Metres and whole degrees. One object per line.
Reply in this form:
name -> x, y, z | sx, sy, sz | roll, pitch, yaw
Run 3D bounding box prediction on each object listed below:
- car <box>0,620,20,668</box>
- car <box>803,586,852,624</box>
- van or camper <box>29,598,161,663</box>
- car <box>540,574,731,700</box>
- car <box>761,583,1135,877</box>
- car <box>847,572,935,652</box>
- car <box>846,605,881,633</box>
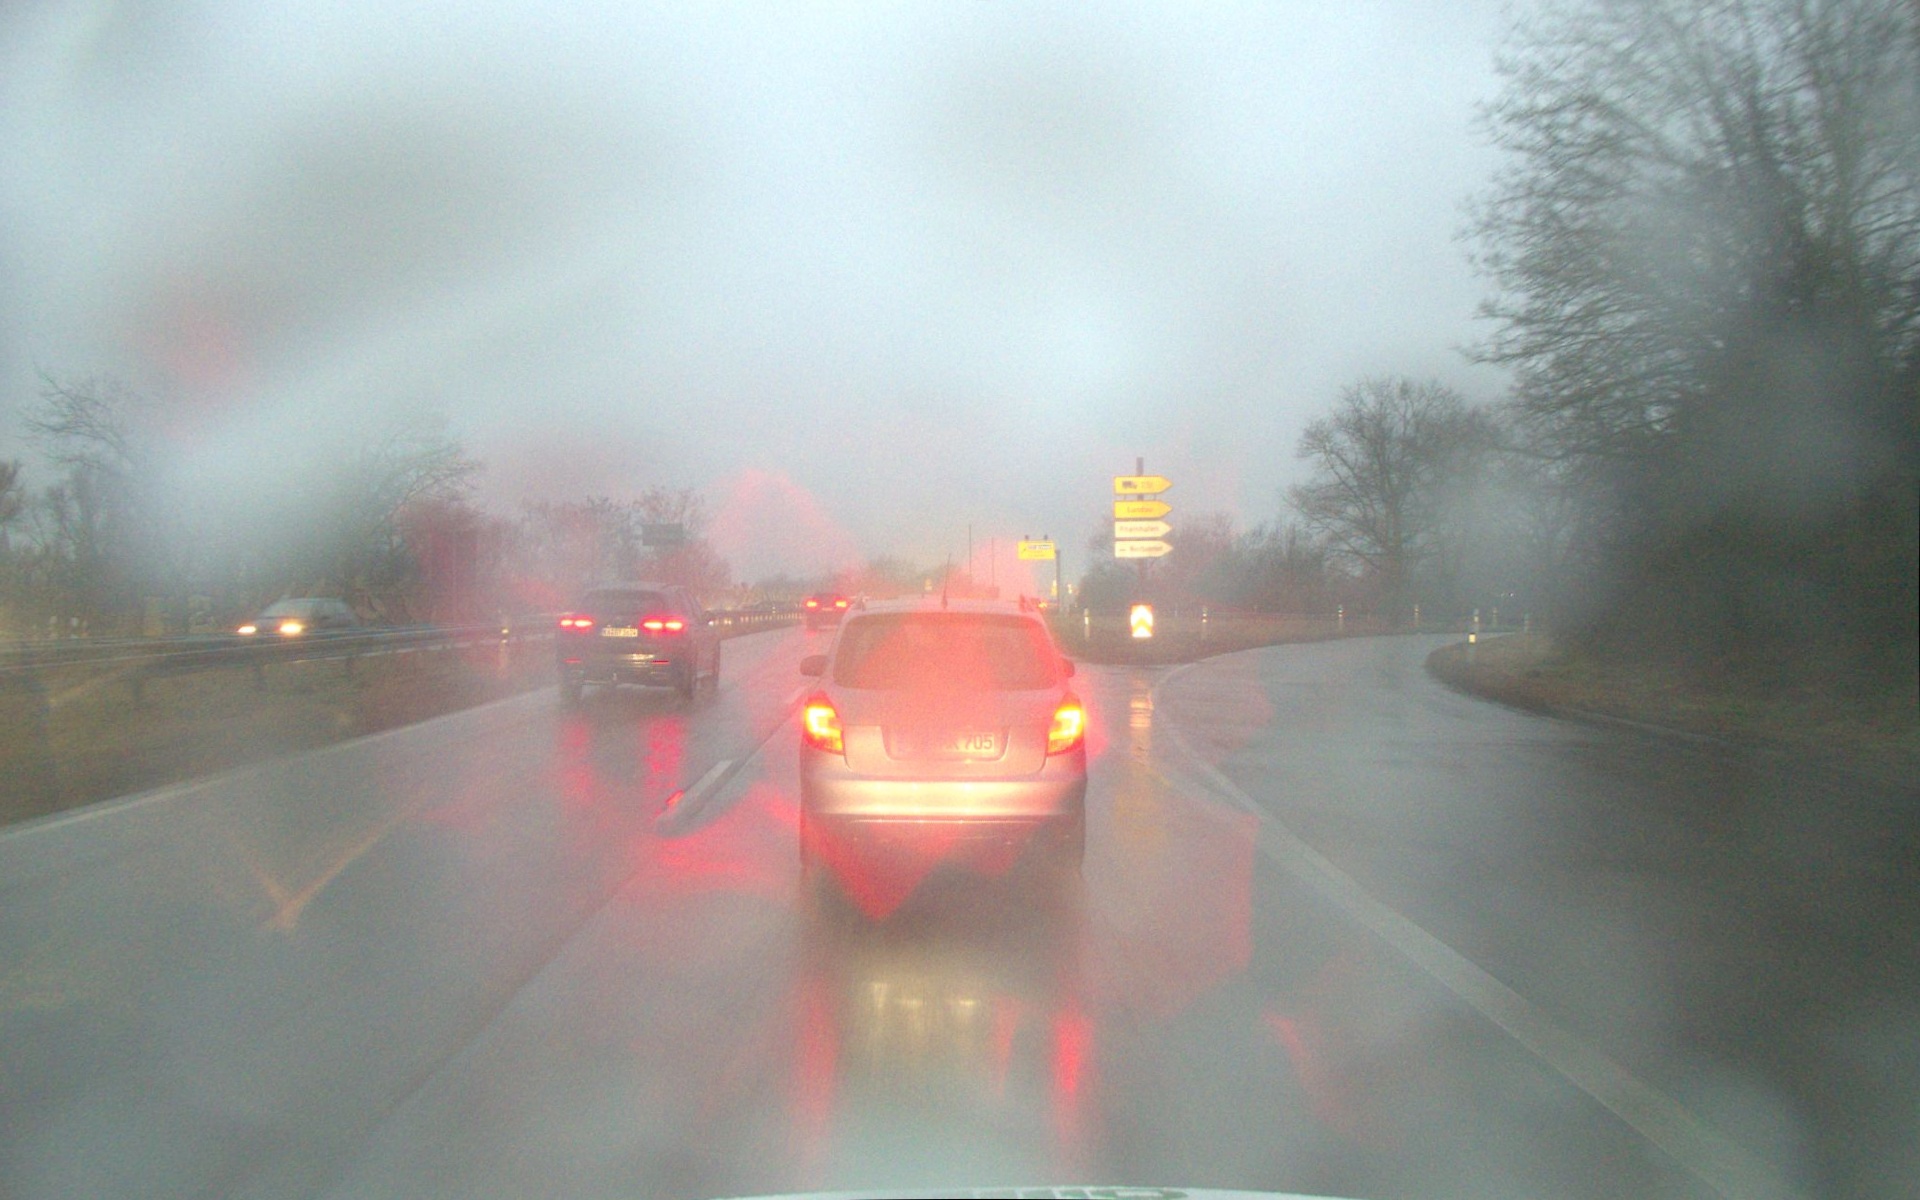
car -> -33.251, 1.490, 54.958 | 1.749, 1.637, 4.676 | 0, 0, -6
car -> -5.745, 0.189, 72.227 | 1.752, 1.572, 4.000 | -1, 0, 1
van or camper -> -25.359, 0.882, 48.626 | 1.615, 1.815, 4.208 | -1, 0, 1
car -> -4.595, 0.492, 24.093 | 1.953, 1.629, 4.308 | 1, 0, -1
car -> -0.035, 0.697, 10.752 | 1.952, 1.527, 4.138 | -1, 0, 1
car -> -1.748, 0.264, 40.339 | 1.861, 1.798, 4.303 | -1, 0, -6
car -> -5.631, 1.114, 96.511 | 1.752, 1.572, 4.000 | -1, 0, 1
